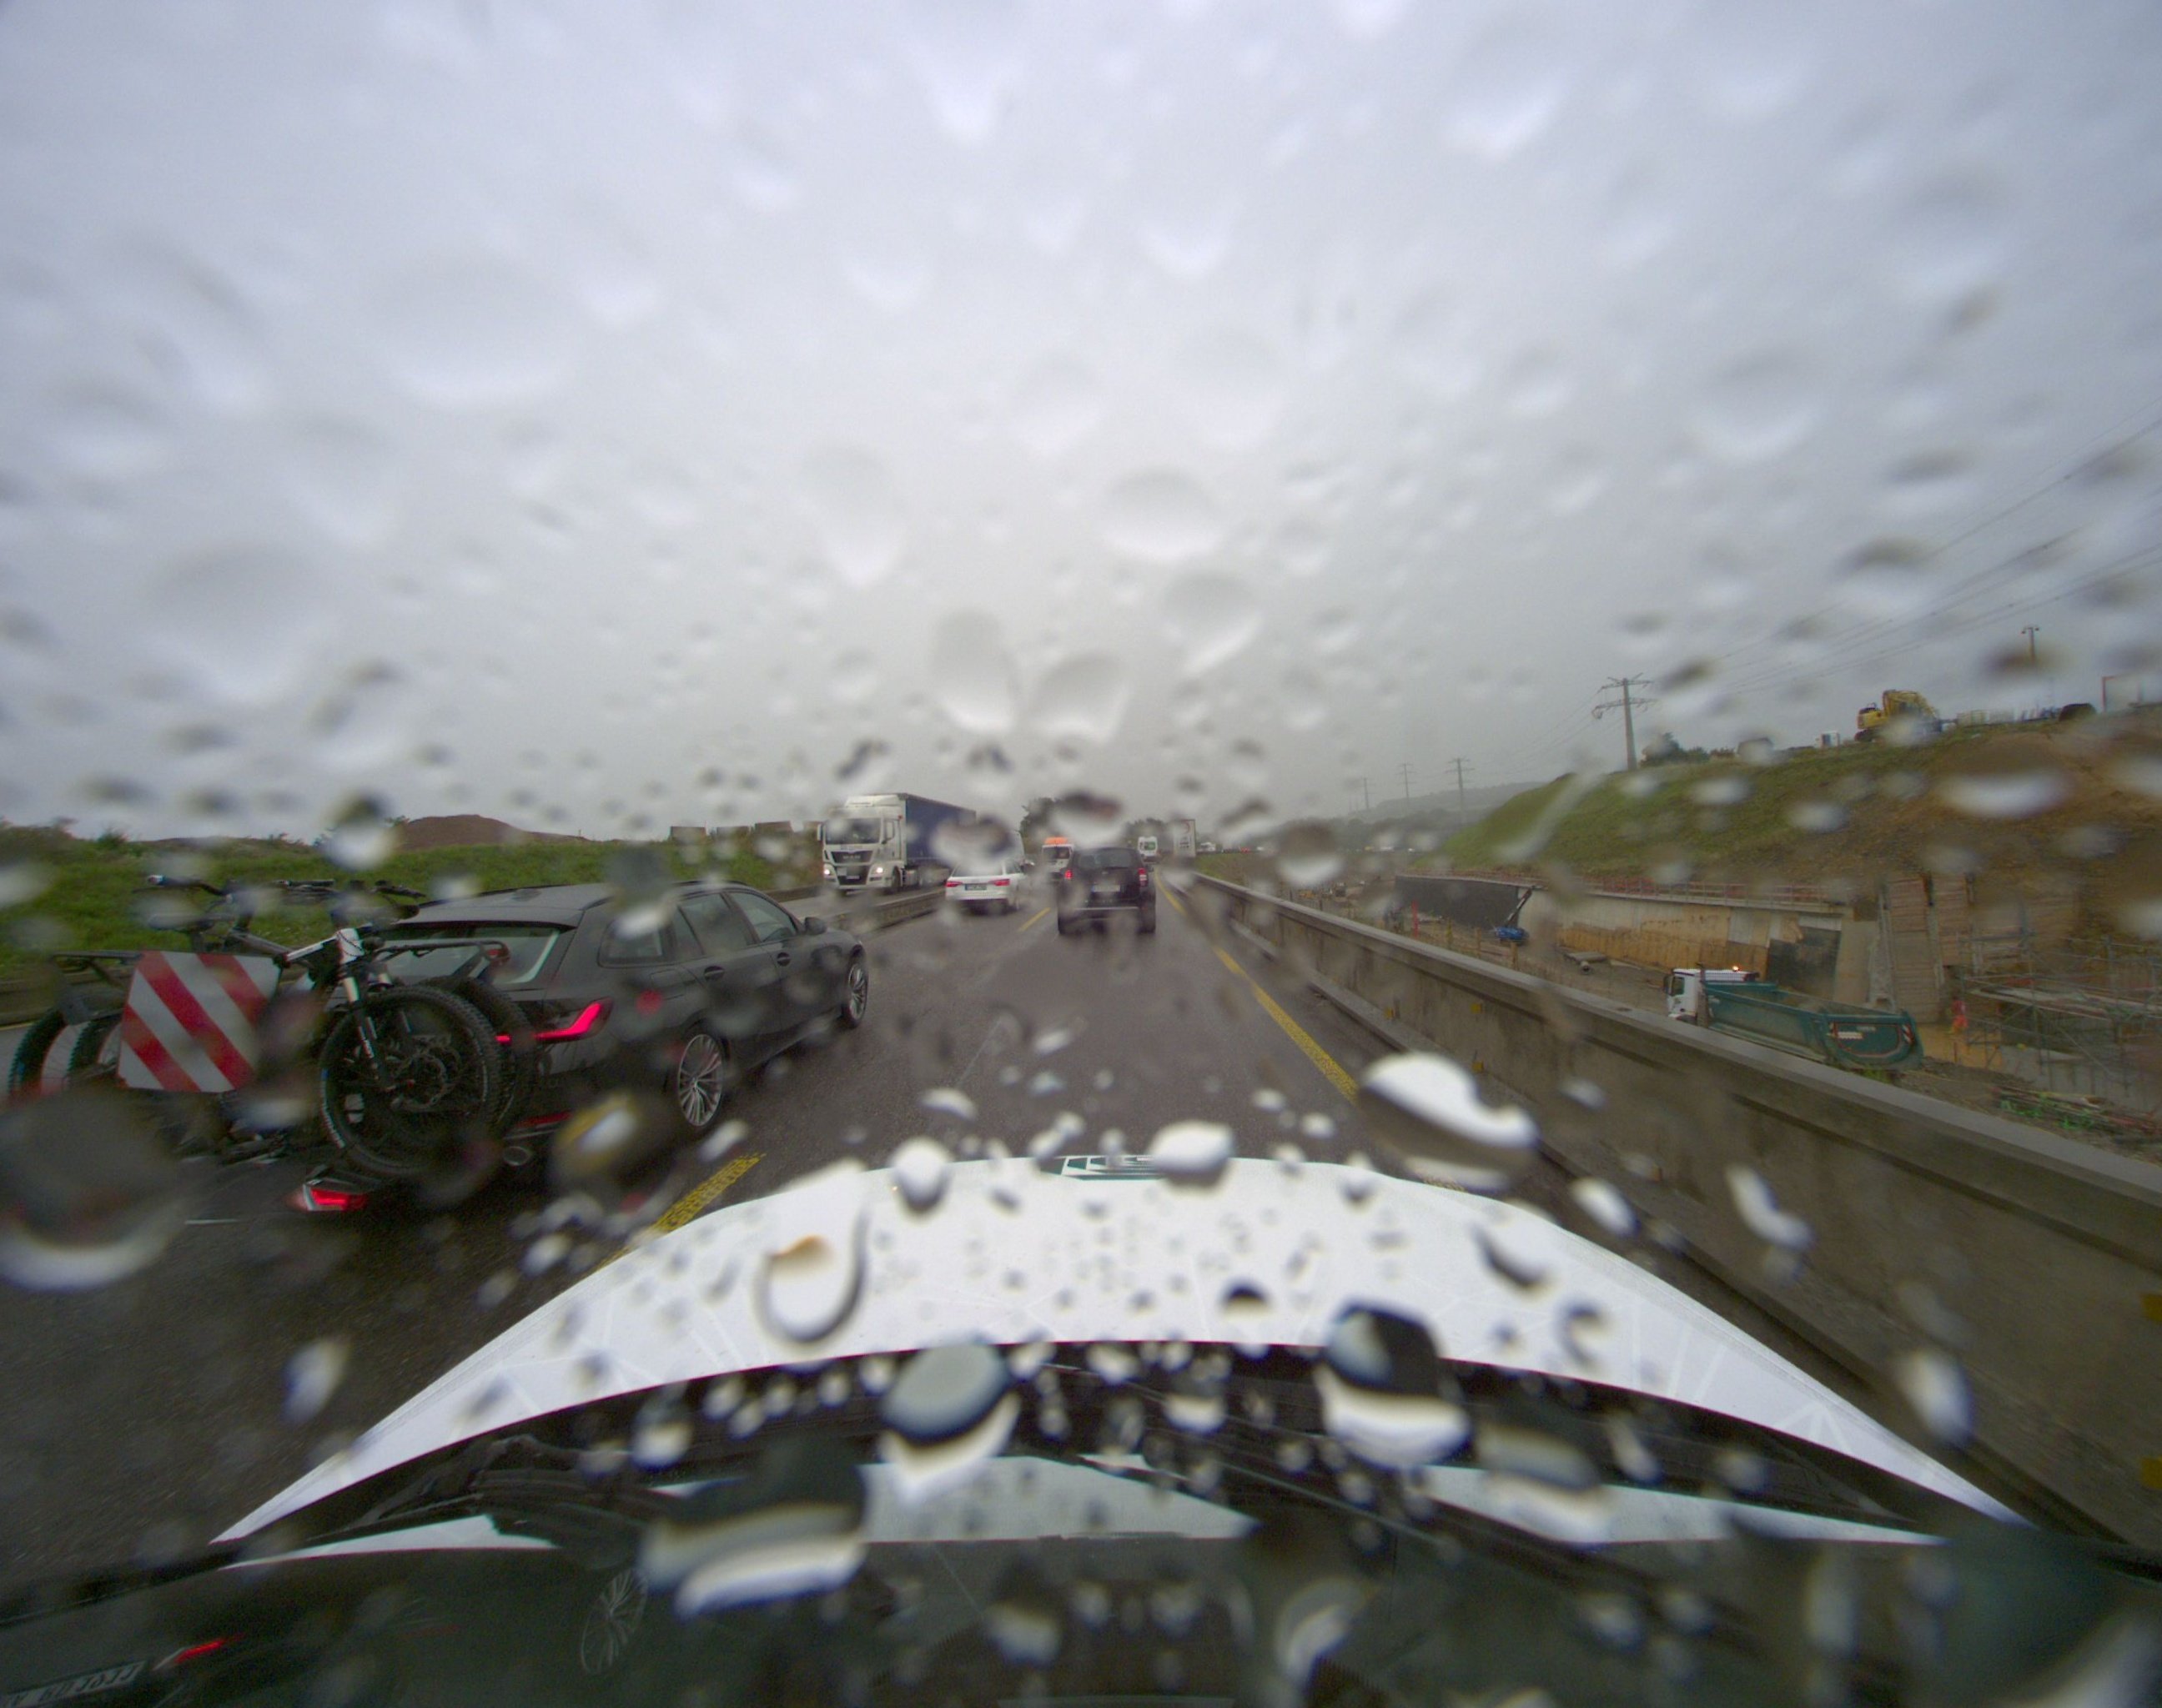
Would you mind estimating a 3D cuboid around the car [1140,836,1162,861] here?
[{"bbox_3d":[7.134,-0.542,82.696,1.815,2.437,4.169,-1,-1,10],"label":"car"}]

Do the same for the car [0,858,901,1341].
[{"bbox_3d":[-2.873,0.893,5.688,1.728,1.462,5.633,-2,2,2],"label":"car"}]

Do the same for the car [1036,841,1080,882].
[{"bbox_3d":[-1.049,0.363,39.306,1.819,1.815,4.001,-1,0,2],"label":"car"}]

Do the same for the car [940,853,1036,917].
[{"bbox_3d":[-2.374,0.768,21.742,1.818,1.499,4.004,-1,0,4],"label":"car"}]

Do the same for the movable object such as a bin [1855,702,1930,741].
[{"bbox_3d":[64.864,-10.553,65.191,2.414,2.443,3.980,-1,2,10],"label":"movable object such as a bin"}]

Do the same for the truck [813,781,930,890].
[{"bbox_3d":[-8.404,-0.742,33.452,2.775,4.034,5.828,-1,1,5],"label":"truck"}]

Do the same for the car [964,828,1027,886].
[{"bbox_3d":[-4.202,0.070,41.300,1.997,2.653,6.891,-1,1,3],"label":"car"}]

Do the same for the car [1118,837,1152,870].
[{"bbox_3d":[3.223,-0.012,47.838,1.817,1.815,4.006,-1,0,5],"label":"car"}]

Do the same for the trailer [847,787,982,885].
[{"bbox_3d":[-7.791,-0.880,40.899,2.766,4.034,13.760,-1,1,5],"label":"trailer"}]

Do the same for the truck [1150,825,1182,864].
[{"bbox_3d":[11.692,-1.248,111.650,3.522,5.077,10.470,-1,0,10],"label":"truck"}]

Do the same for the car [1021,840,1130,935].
[{"bbox_3d":[0.018,0.593,16.057,1.818,1.591,4.004,-1,0,4],"label":"car"}]

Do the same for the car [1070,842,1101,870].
[{"bbox_3d":[0.353,0.152,56.374,1.818,1.815,4.005,-1,0,5],"label":"car"}]

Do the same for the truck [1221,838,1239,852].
[{"bbox_3d":[41.496,-2.478,226.594,3.444,3.715,8.457,-3,0,18],"label":"truck"}]

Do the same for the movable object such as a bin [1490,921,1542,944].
[{"bbox_3d":[41.085,7.392,76.923,2.008,2.014,3.800,2,-4,-34],"label":"movable object such as a bin"}]

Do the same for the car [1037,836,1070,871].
[{"bbox_3d":[-2.143,-0.070,65.309,2.046,2.577,7.026,-1,1,3],"label":"car"}]

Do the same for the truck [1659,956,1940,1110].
[{"bbox_3d":[24.688,5.923,28.889,2.715,3.490,9.082,-1,0,7],"label":"truck"}]
